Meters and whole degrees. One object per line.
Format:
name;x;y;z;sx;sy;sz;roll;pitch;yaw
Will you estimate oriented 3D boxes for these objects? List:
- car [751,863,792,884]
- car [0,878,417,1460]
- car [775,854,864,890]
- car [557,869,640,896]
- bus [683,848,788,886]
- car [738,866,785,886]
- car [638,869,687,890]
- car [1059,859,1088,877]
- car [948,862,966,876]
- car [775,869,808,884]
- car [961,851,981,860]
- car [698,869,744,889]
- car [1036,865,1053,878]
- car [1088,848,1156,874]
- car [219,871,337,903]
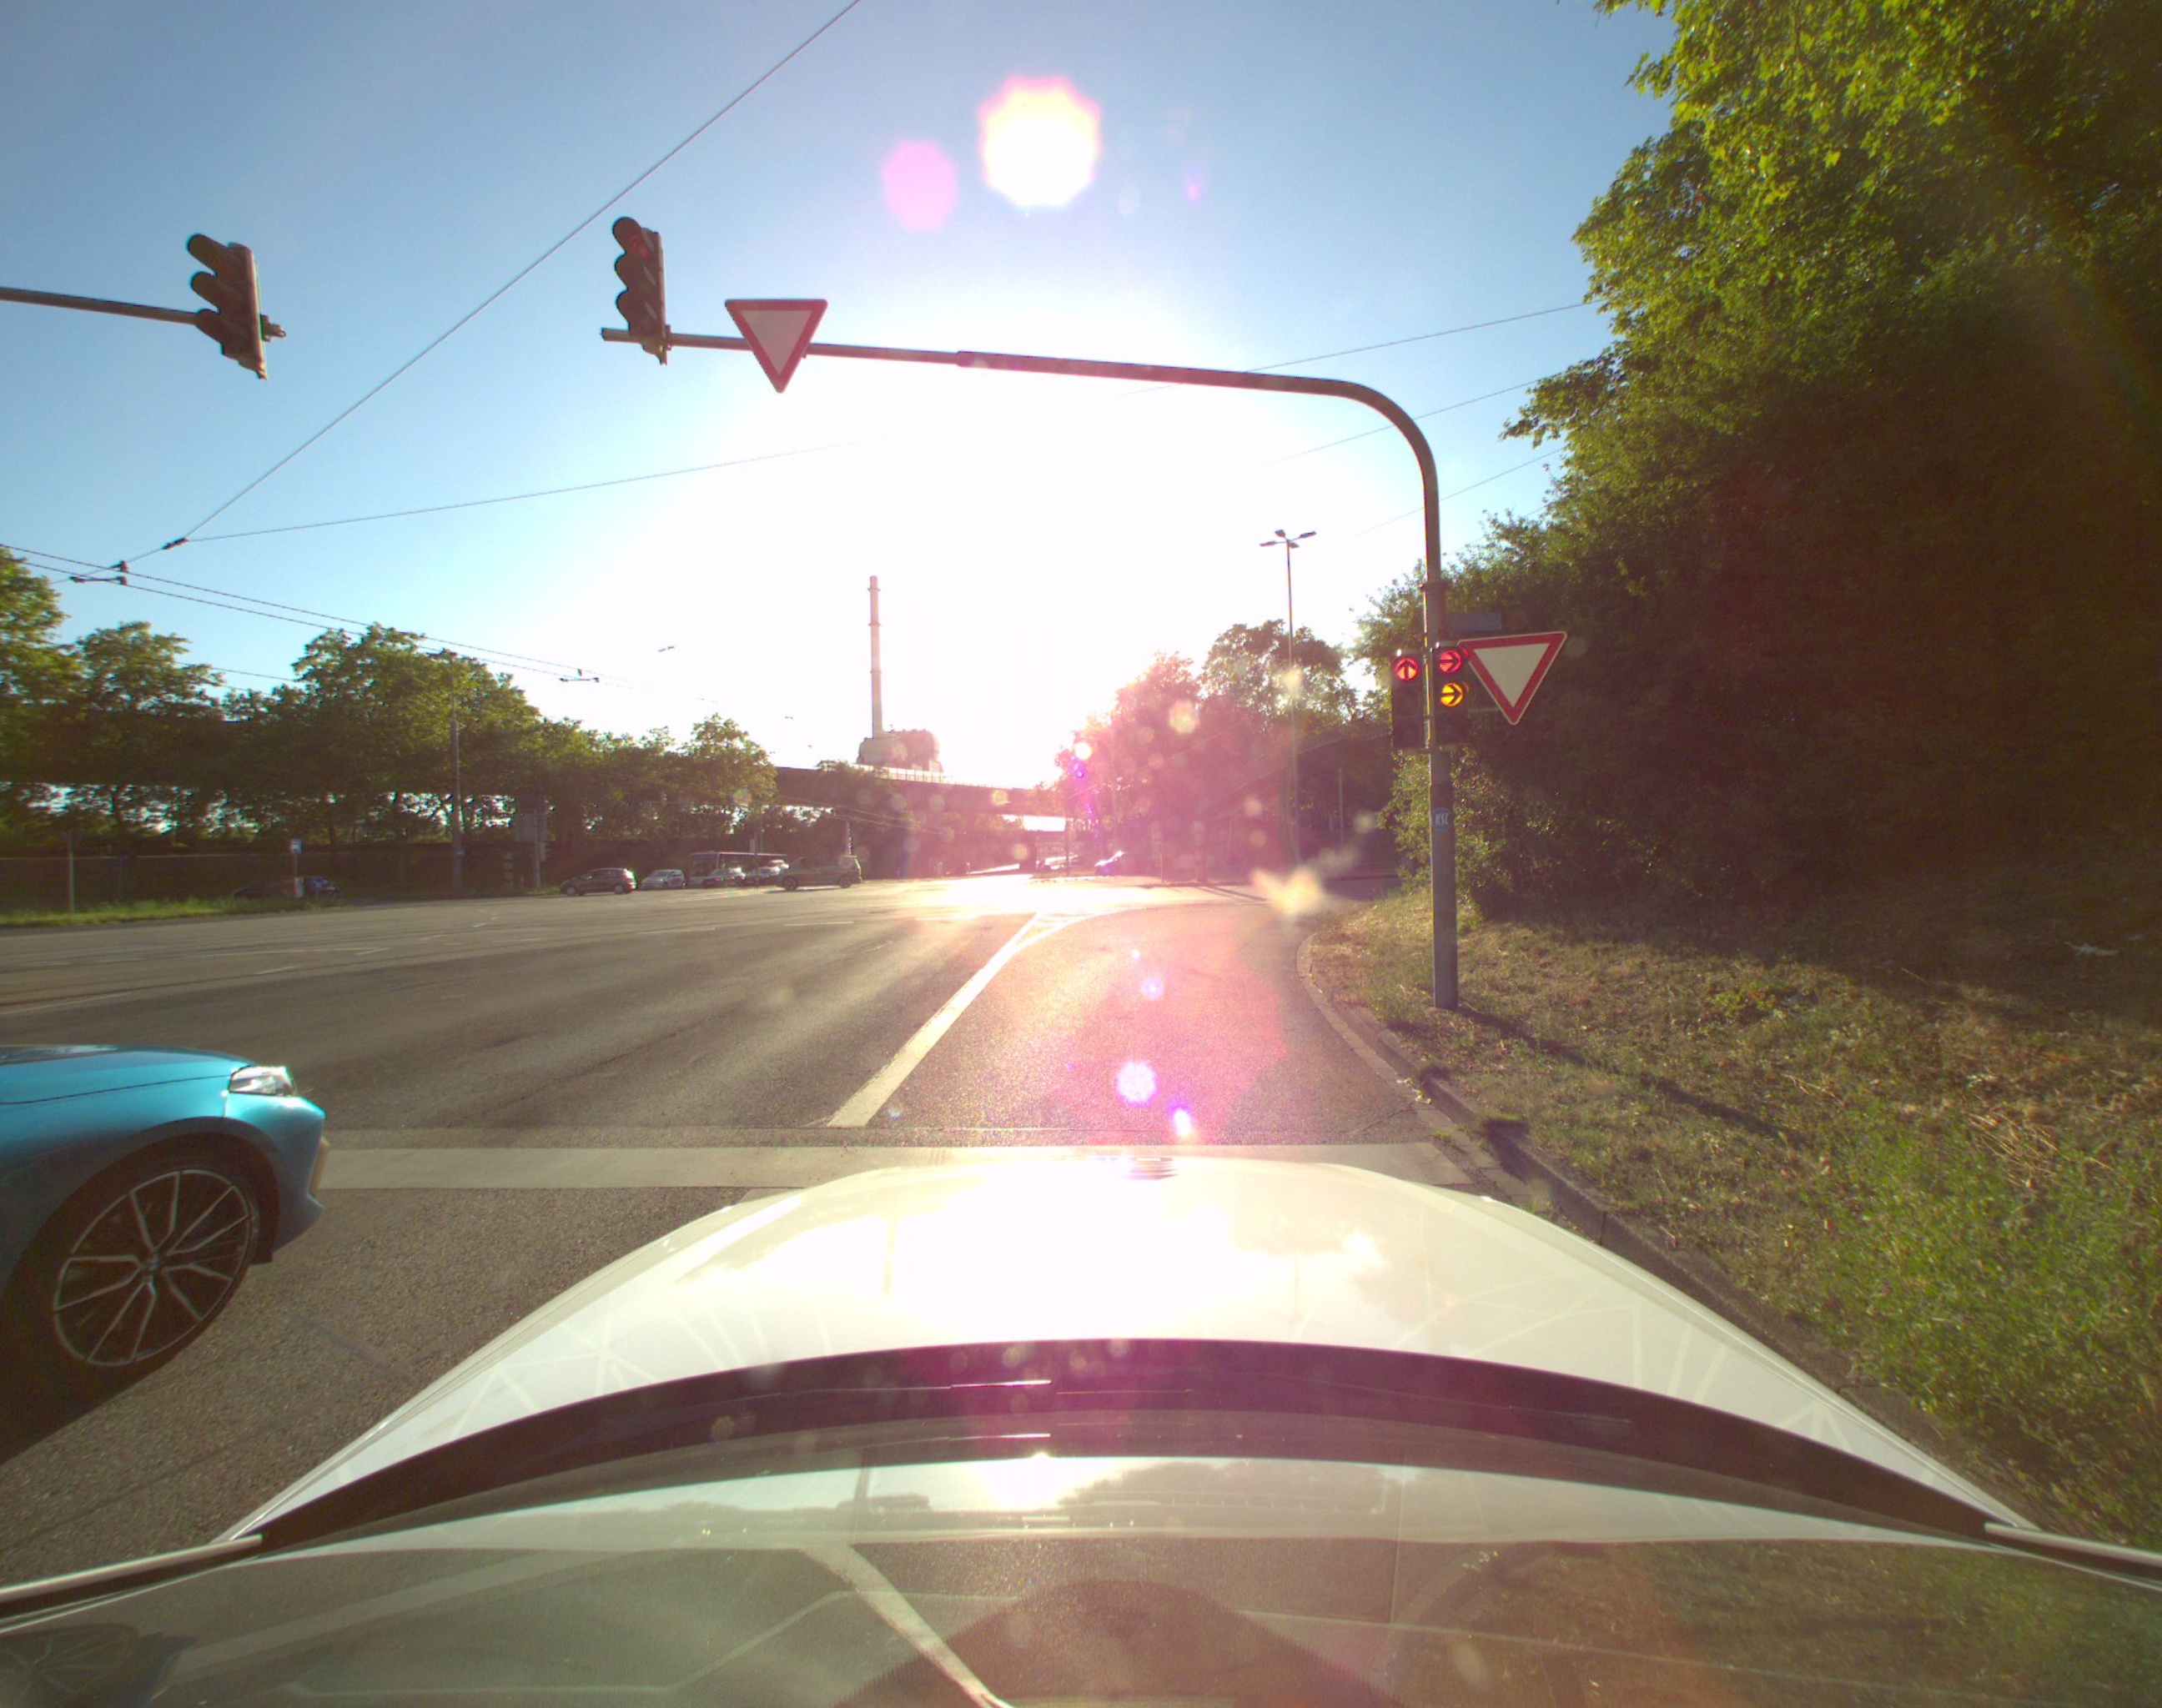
car;-25.718;1.567;67.766;1.704;1.652;4.097;-1;0;2
car;-3.579;0.814;1.049;1.779;1.417;4.511;-1;0;-1
car;-14.928;0.988;46.755;4.698;1.905;1.990;-1;0;-15
car;-27.719;1.609;46.894;3.726;1.422;1.689;-1;0;-14
bus;-29.544;1.055;70.680;2.810;2.954;12.866;-1;0;4
car;-23.528;1.592;60.118;1.704;1.354;4.097;-1;0;2
car;-30.104;1.831;58.707;1.599;1.354;3.734;-1;0;0
car;-0.762;1.359;80.209;1.715;1.652;4.194;-1;0;-18
car;-15.889;1.881;104.335;1.706;1.652;4.092;-1;0;-2
car;-28.895;2.223;81.383;1.693;1.442;4.002;-1;0;2
car;-22.415;0.320;166.289;1.974;1.771;4.025;-1;-1;34
car;-26.360;1.821;59.742;1.599;1.354;3.999;-1;0;0
car;-4.393;2.146;99.311;1.685;1.422;4.153;-1;0;2
car;2.604;0.459;51.963;3.932;1.558;1.988;-1;0;-17
car;-39.306;1.601;39.943;3.730;1.422;1.687;-1;0;-17
